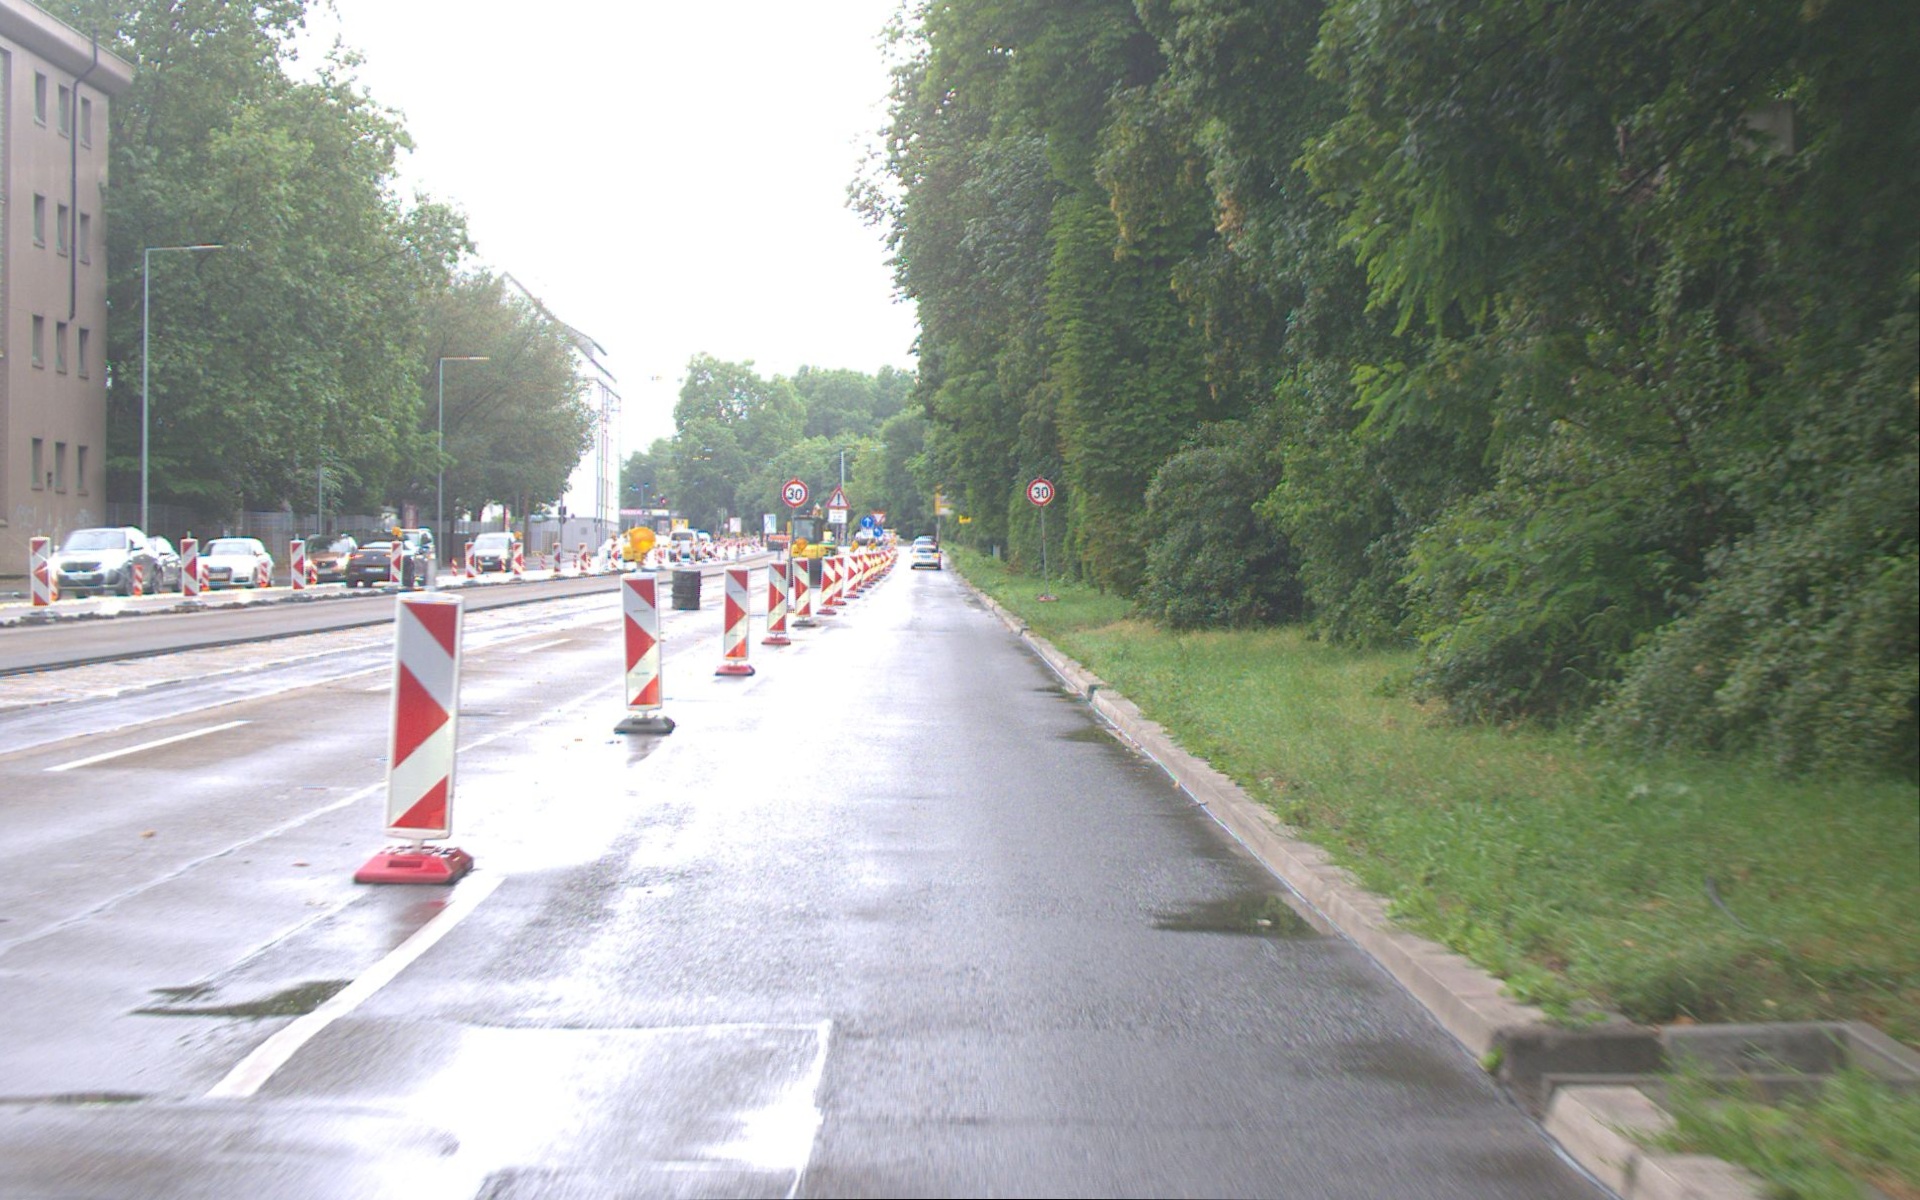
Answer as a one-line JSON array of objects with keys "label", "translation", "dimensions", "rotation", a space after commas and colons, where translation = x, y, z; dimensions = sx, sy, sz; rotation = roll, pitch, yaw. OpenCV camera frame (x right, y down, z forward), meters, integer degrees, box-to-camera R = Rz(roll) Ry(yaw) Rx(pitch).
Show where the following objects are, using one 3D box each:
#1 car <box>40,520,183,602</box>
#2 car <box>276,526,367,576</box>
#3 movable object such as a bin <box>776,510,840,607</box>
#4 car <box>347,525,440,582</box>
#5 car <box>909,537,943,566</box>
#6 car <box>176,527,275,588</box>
[{"label": "car", "translation": [-19.232, -0.877, 78.143], "dimensions": [1.989, 1.762, 4.674], "rotation": [2, 1, 1]}, {"label": "car", "translation": [-20.008, -1.524, 107.920], "dimensions": [1.894, 1.497, 4.516], "rotation": [2, 1, 1]}, {"label": "movable object such as a bin", "translation": [-5.446, -1.493, 123.587], "dimensions": [1.993, 3.356, 5.982], "rotation": [2, 0, 0]}, {"label": "car", "translation": [-15.995, -1.304, 97.238], "dimensions": [1.993, 1.514, 4.000], "rotation": [2, 1, -1]}, {"label": "car", "translation": [-2.058, -2.900, 206.990], "dimensions": [1.993, 1.667, 4.000], "rotation": [2, 1, 0]}, {"label": "car", "translation": [-19.581, -1.126, 91.767], "dimensions": [1.803, 1.529, 3.992], "rotation": [2, 1, -1]}]
